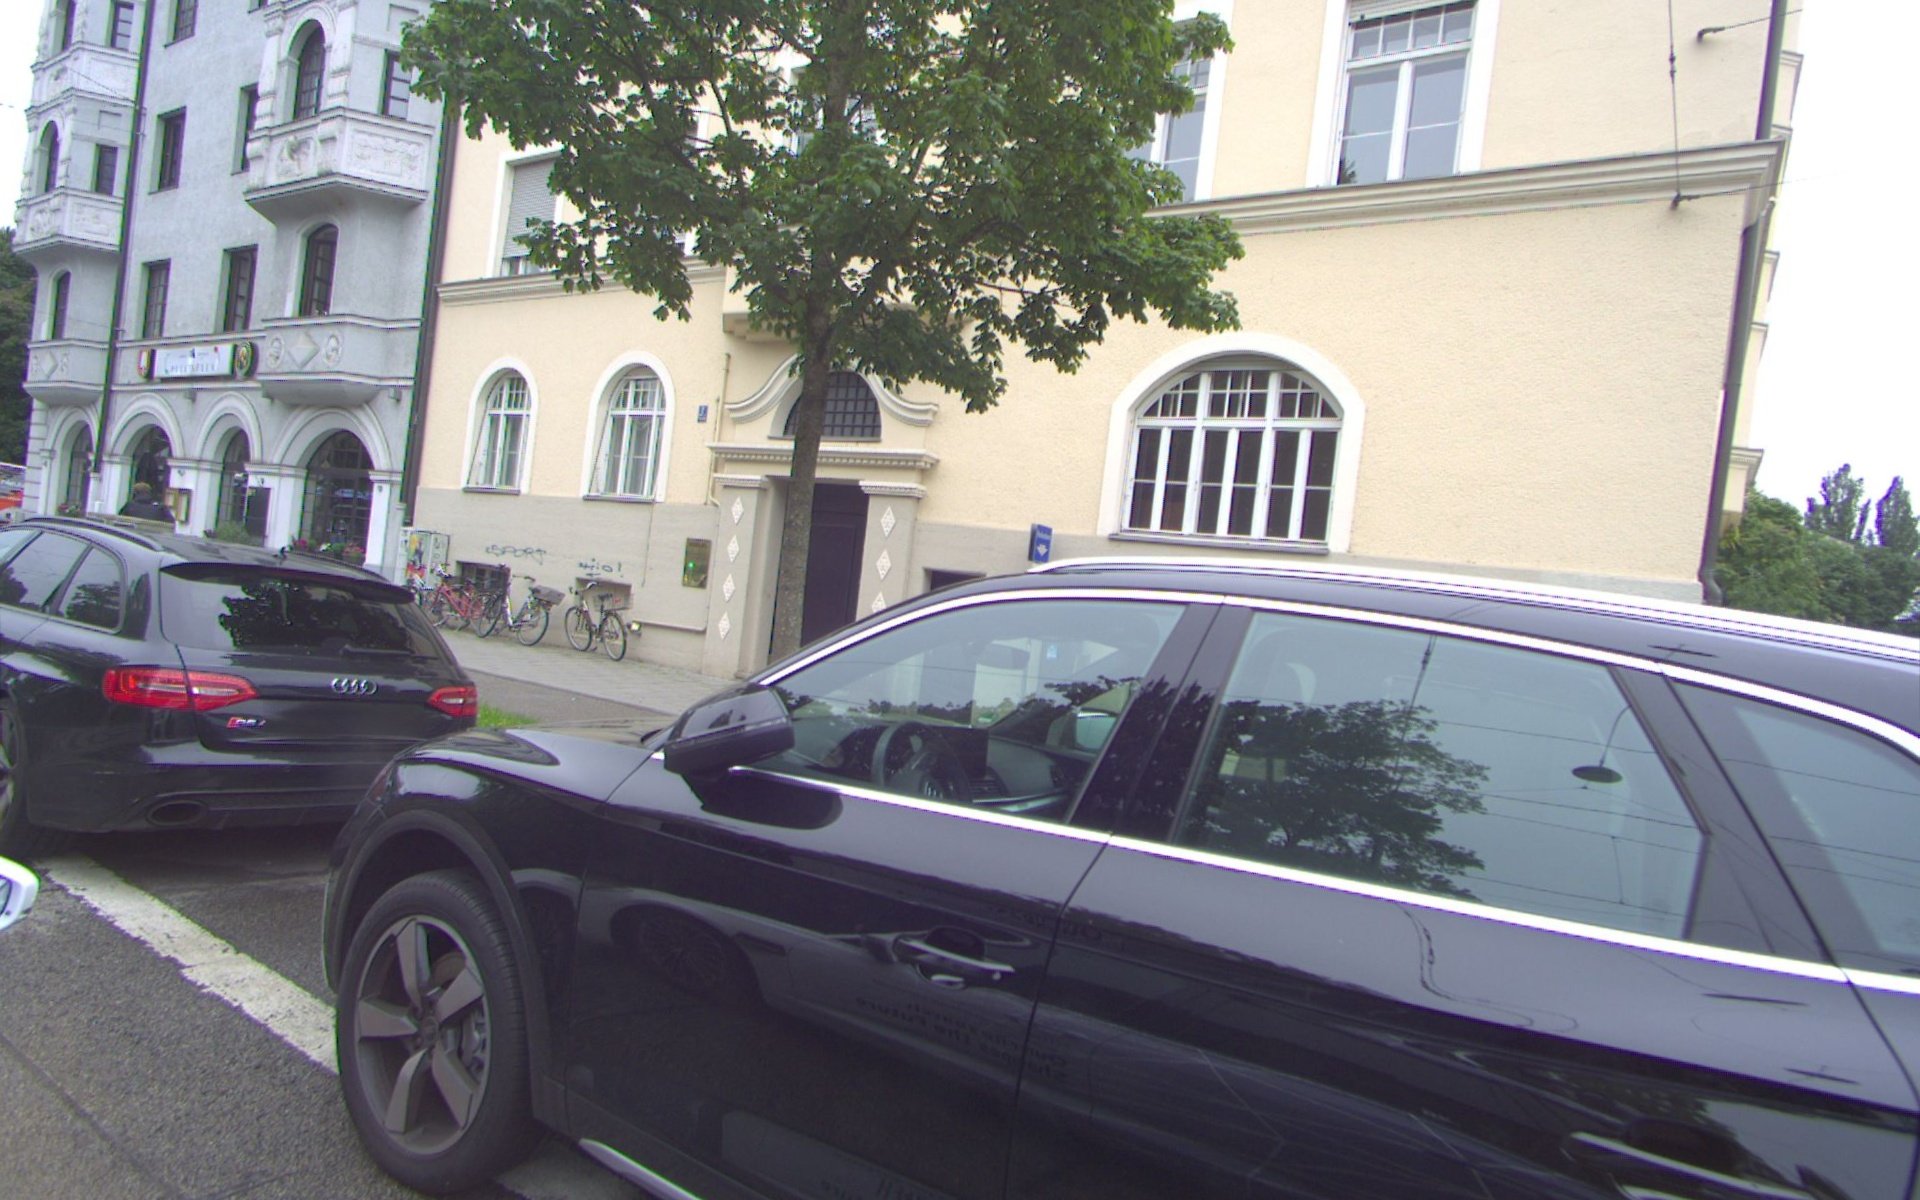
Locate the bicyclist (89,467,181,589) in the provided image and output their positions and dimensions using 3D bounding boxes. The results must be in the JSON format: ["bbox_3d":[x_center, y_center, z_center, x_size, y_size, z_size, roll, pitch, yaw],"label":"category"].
[{"bbox_3d":[-12.761,-1.109,15.567,0.714,1.749,0.726,7,-1,31],"label":"bicyclist"}]

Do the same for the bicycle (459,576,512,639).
[{"bbox_3d":[-7.905,0.118,16.736,0.871,0.941,0.273,6,-1,33],"label":"bicycle"}]

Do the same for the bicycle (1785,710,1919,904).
[{"bbox_3d":[7.244,1.599,7.527,1.511,1.327,0.332,7,-1,30],"label":"bicycle"}]

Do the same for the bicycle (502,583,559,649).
[{"bbox_3d":[-6.827,0.252,15.992,0.871,0.941,0.285,6,-1,33],"label":"bicycle"}]

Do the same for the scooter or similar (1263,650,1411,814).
[{"bbox_3d":[3.479,1.196,9.303,1.122,1.328,0.262,7,-1,26],"label":"scooter or similar"}]

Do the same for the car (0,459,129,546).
[{"bbox_3d":[-36.162,-3.893,39.080,2.192,2.642,5.311,7,-2,29],"label":"car"}]

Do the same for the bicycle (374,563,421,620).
[{"bbox_3d":[-10.237,-0.151,18.302,0.871,0.941,0.259,6,-1,33],"label":"bicycle"}]

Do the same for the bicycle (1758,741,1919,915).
[{"bbox_3d":[7.000,1.743,7.581,1.417,1.119,0.287,7,0,24],"label":"bicycle"}]

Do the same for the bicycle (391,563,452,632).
[{"bbox_3d":[-9.189,-0.044,17.148,1.203,1.051,0.242,6,-1,32],"label":"bicycle"}]

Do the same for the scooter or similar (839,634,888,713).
[{"bbox_3d":[-1.192,0.916,12.519,0.413,0.921,0.348,7,-1,11],"label":"scooter or similar"}]

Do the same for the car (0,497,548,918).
[{"bbox_3d":[-4.508,0.283,5.470,4.525,1.442,1.720,6,-2,31],"label":"car"}]

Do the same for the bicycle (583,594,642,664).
[{"bbox_3d":[-5.196,0.423,15.037,0.871,0.941,0.222,7,-1,31],"label":"bicycle"}]

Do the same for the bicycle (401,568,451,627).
[{"bbox_3d":[-9.460,-0.050,17.817,0.871,0.941,0.291,6,-1,33],"label":"bicycle"}]

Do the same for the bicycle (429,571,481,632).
[{"bbox_3d":[-8.678,0.029,17.290,0.871,0.941,0.306,6,-1,34],"label":"bicycle"}]

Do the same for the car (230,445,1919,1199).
[{"bbox_3d":[0.433,0.703,2.312,4.414,1.677,1.777,6,-2,32],"label":"car"}]
